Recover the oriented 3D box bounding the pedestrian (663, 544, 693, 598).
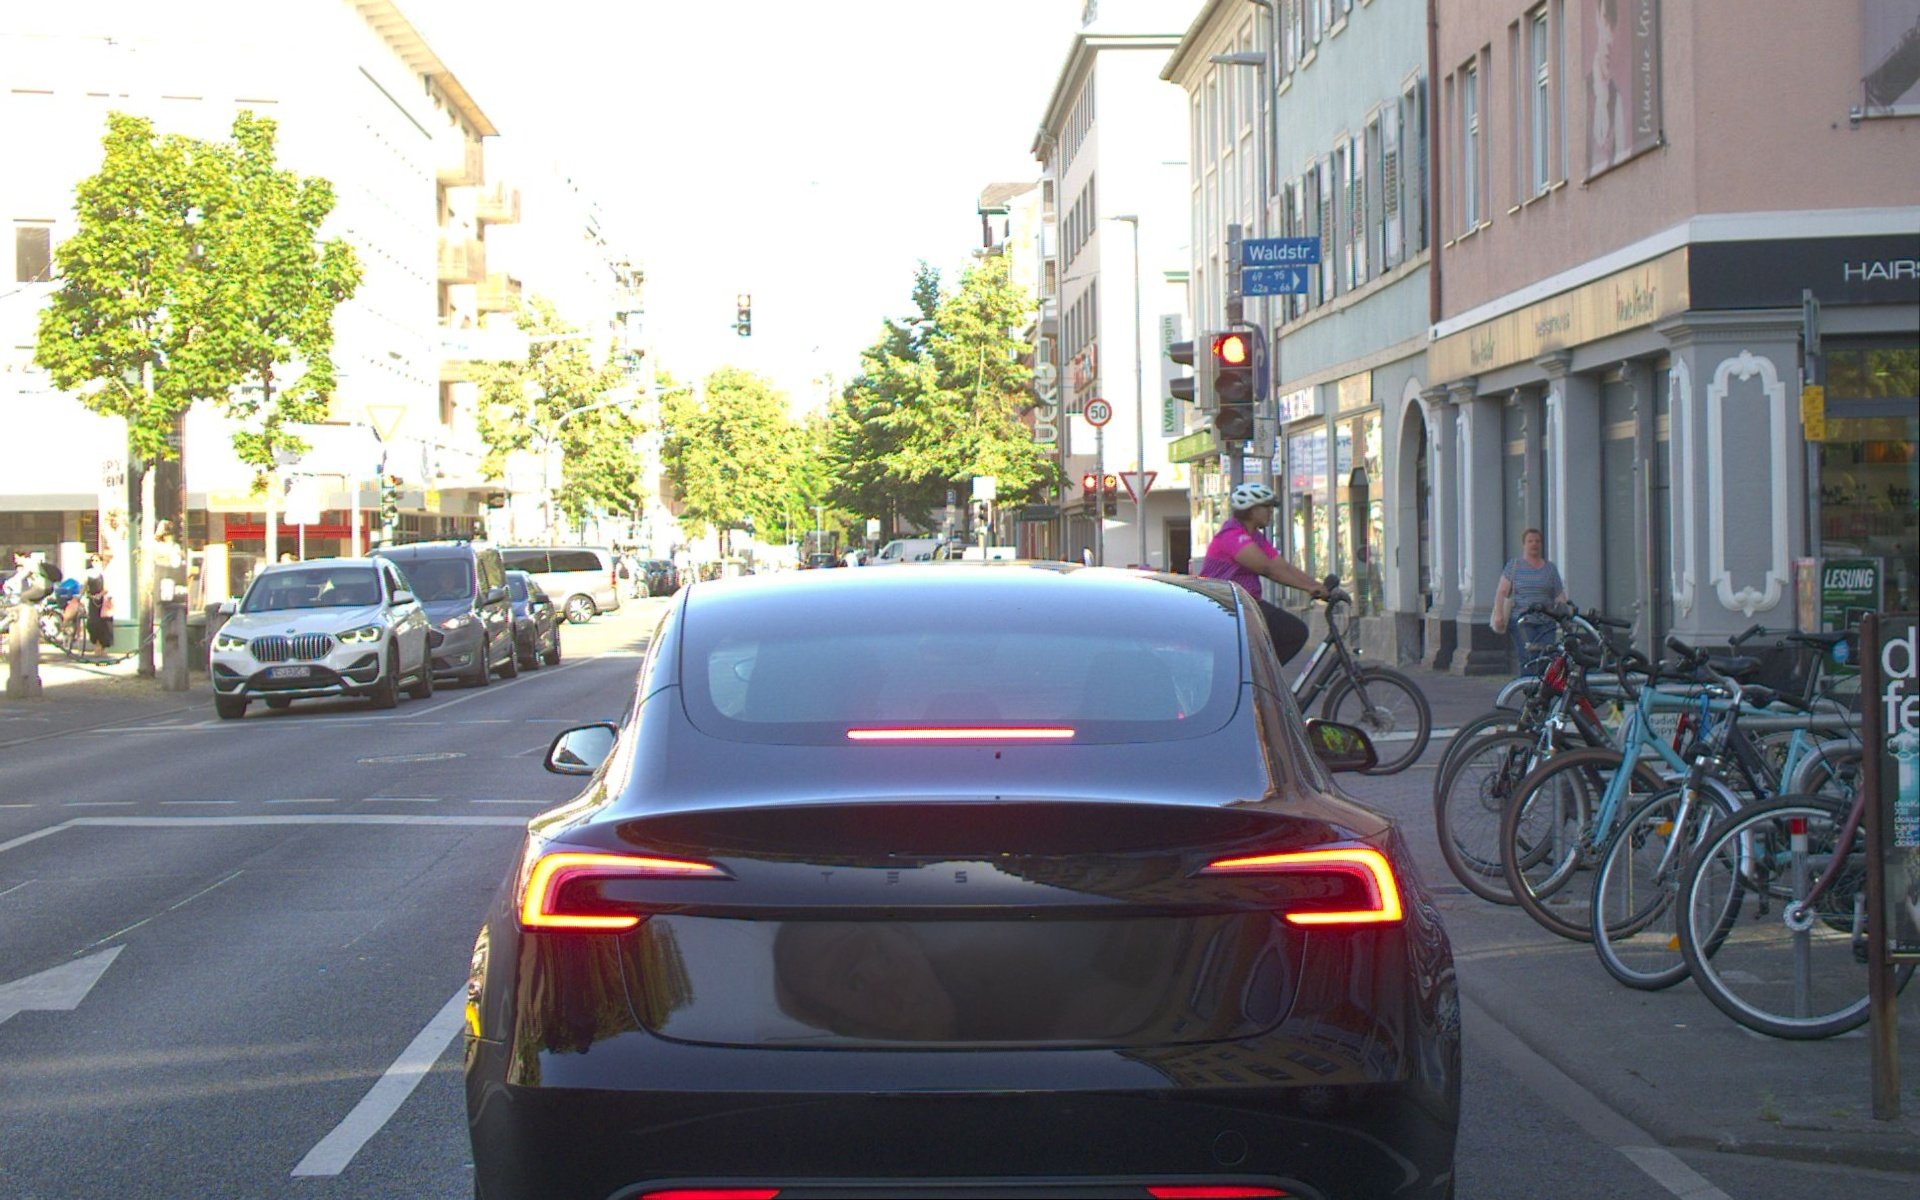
[{"bbox_3d":[-9.707,-1.001,118.203,0.774,1.861,1.009,1,0,-19],"label":"pedestrian"}]

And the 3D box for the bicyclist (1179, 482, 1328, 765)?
[{"bbox_3d":[1.868,0.149,21.819,0.864,1.749,0.681,-2,-1,8],"label":"bicyclist"}]

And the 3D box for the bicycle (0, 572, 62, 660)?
[{"bbox_3d":[-14.483,0.218,49.884,2.662,1.255,0.943,1,0,-3],"label":"bicycle"}]

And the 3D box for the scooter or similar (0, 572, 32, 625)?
[{"bbox_3d":[-17.434,-0.034,63.027,0.787,0.954,0.464,1,0,-13],"label":"scooter or similar"}]

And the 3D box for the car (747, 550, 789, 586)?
[{"bbox_3d":[-10.442,-1.754,187.153,2.132,1.963,4.134,0,1,-1],"label":"car"}]

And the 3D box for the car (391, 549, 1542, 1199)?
[{"bbox_3d":[-0.017,0.629,7.793,1.850,1.442,4.452,1,1,-1],"label":"car"}]

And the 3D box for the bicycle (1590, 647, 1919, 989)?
[{"bbox_3d":[3.006,0.692,11.141,1.813,1.056,0.653,0,1,1],"label":"bicycle"}]

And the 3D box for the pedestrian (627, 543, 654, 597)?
[{"bbox_3d":[-11.158,-1.041,120.158,0.694,1.861,0.910,1,0,-21],"label":"pedestrian"}]

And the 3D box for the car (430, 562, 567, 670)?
[{"bbox_3d":[-6.649,0.204,49.816,1.461,1.425,3.606,-4,1,-1],"label":"car"}]

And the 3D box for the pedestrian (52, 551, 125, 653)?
[{"bbox_3d":[-14.075,0.025,55.508,1.092,1.606,1.267,1,0,-15],"label":"pedestrian"}]

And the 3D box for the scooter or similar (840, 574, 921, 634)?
[{"bbox_3d":[-1.538,0.078,66.187,1.333,1.131,0.810,1,0,-24],"label":"scooter or similar"}]

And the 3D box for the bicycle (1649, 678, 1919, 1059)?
[{"bbox_3d":[3.032,0.759,10.069,1.882,1.040,0.653,-1,1,1],"label":"bicycle"}]

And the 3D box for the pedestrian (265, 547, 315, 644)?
[{"bbox_3d":[-12.268,-0.079,62.950,0.844,1.754,0.707,1,0,-14],"label":"pedestrian"}]

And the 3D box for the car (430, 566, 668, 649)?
[{"bbox_3d":[-9.571,0.160,80.084,5.195,1.860,1.884,0,1,-22],"label":"car"}]

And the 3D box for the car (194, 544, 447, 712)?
[{"bbox_3d":[-6.682,0.255,36.359,1.825,1.559,4.301,-4,1,-1],"label":"car"}]

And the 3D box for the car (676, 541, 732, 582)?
[{"bbox_3d":[-12.394,-1.880,166.470,2.414,1.963,4.678,0,1,-1],"label":"car"}]

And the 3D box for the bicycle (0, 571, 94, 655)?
[{"bbox_3d":[-14.529,0.190,52.159,2.542,1.247,0.943,1,0,-3],"label":"bicycle"}]

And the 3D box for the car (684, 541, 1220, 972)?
[{"bbox_3d":[-0.054,0.524,14.217,1.850,1.476,4.452,1,1,-1],"label":"car"}]

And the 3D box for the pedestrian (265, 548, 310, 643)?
[{"bbox_3d":[-12.439,-0.088,63.593,0.658,1.754,0.654,1,0,-26],"label":"pedestrian"}]

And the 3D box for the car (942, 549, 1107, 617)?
[{"bbox_3d":[1.727,-0.459,91.858,3.997,1.782,2.040,0,1,18],"label":"car"}]

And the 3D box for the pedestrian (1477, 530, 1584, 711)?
[{"bbox_3d":[4.961,0.171,29.935,0.789,1.544,0.724,1,0,0],"label":"pedestrian"}]

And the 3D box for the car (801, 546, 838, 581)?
[{"bbox_3d":[-7.425,-1.954,182.189,1.892,1.807,3.925,1,1,-2],"label":"car"}]

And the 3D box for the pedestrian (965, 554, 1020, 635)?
[{"bbox_3d":[0.645,-0.115,68.601,0.806,1.604,0.709,0,1,-37],"label":"pedestrian"}]

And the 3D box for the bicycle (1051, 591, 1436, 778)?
[{"bbox_3d":[1.803,0.528,21.830,2.390,1.147,0.712,0,1,6],"label":"bicycle"}]

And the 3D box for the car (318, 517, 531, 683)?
[{"bbox_3d":[-6.568,-0.036,42.682,1.945,1.940,4.820,0,1,-1],"label":"car"}]

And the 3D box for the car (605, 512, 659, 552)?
[{"bbox_3d":[-17.125,-3.547,179.660,2.275,2.007,4.717,1,1,1],"label":"car"}]

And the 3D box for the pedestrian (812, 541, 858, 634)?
[{"bbox_3d":[-2.391,-0.240,65.634,0.658,1.754,0.654,1,0,-24],"label":"pedestrian"}]

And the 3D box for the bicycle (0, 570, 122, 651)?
[{"bbox_3d":[-14.690,0.163,54.583,2.542,1.247,0.943,1,0,-3],"label":"bicycle"}]

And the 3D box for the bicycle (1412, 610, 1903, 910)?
[{"bbox_3d":[2.737,0.620,13.621,1.813,1.148,0.653,0,1,1],"label":"bicycle"}]

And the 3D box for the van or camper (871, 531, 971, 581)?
[{"bbox_3d":[-1.900,-2.146,167.567,4.850,2.430,1.851,0,1,-1],"label":"van or camper"}]

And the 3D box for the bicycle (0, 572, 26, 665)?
[{"bbox_3d":[-14.482,0.236,47.565,2.875,1.266,0.943,1,0,-3],"label":"bicycle"}]

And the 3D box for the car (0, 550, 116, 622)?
[{"bbox_3d":[-20.499,-0.310,74.466,4.119,1.525,1.552,0,1,-21],"label":"car"}]

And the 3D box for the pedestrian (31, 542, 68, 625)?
[{"bbox_3d":[-16.740,-0.306,63.191,0.624,1.518,0.579,1,0,-13],"label":"pedestrian"}]

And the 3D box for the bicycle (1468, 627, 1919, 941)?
[{"bbox_3d":[2.806,0.656,12.548,1.813,1.098,0.653,0,1,1],"label":"bicycle"}]

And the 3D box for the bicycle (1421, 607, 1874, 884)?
[{"bbox_3d":[2.929,0.612,14.756,1.813,1.148,0.653,0,1,1],"label":"bicycle"}]
